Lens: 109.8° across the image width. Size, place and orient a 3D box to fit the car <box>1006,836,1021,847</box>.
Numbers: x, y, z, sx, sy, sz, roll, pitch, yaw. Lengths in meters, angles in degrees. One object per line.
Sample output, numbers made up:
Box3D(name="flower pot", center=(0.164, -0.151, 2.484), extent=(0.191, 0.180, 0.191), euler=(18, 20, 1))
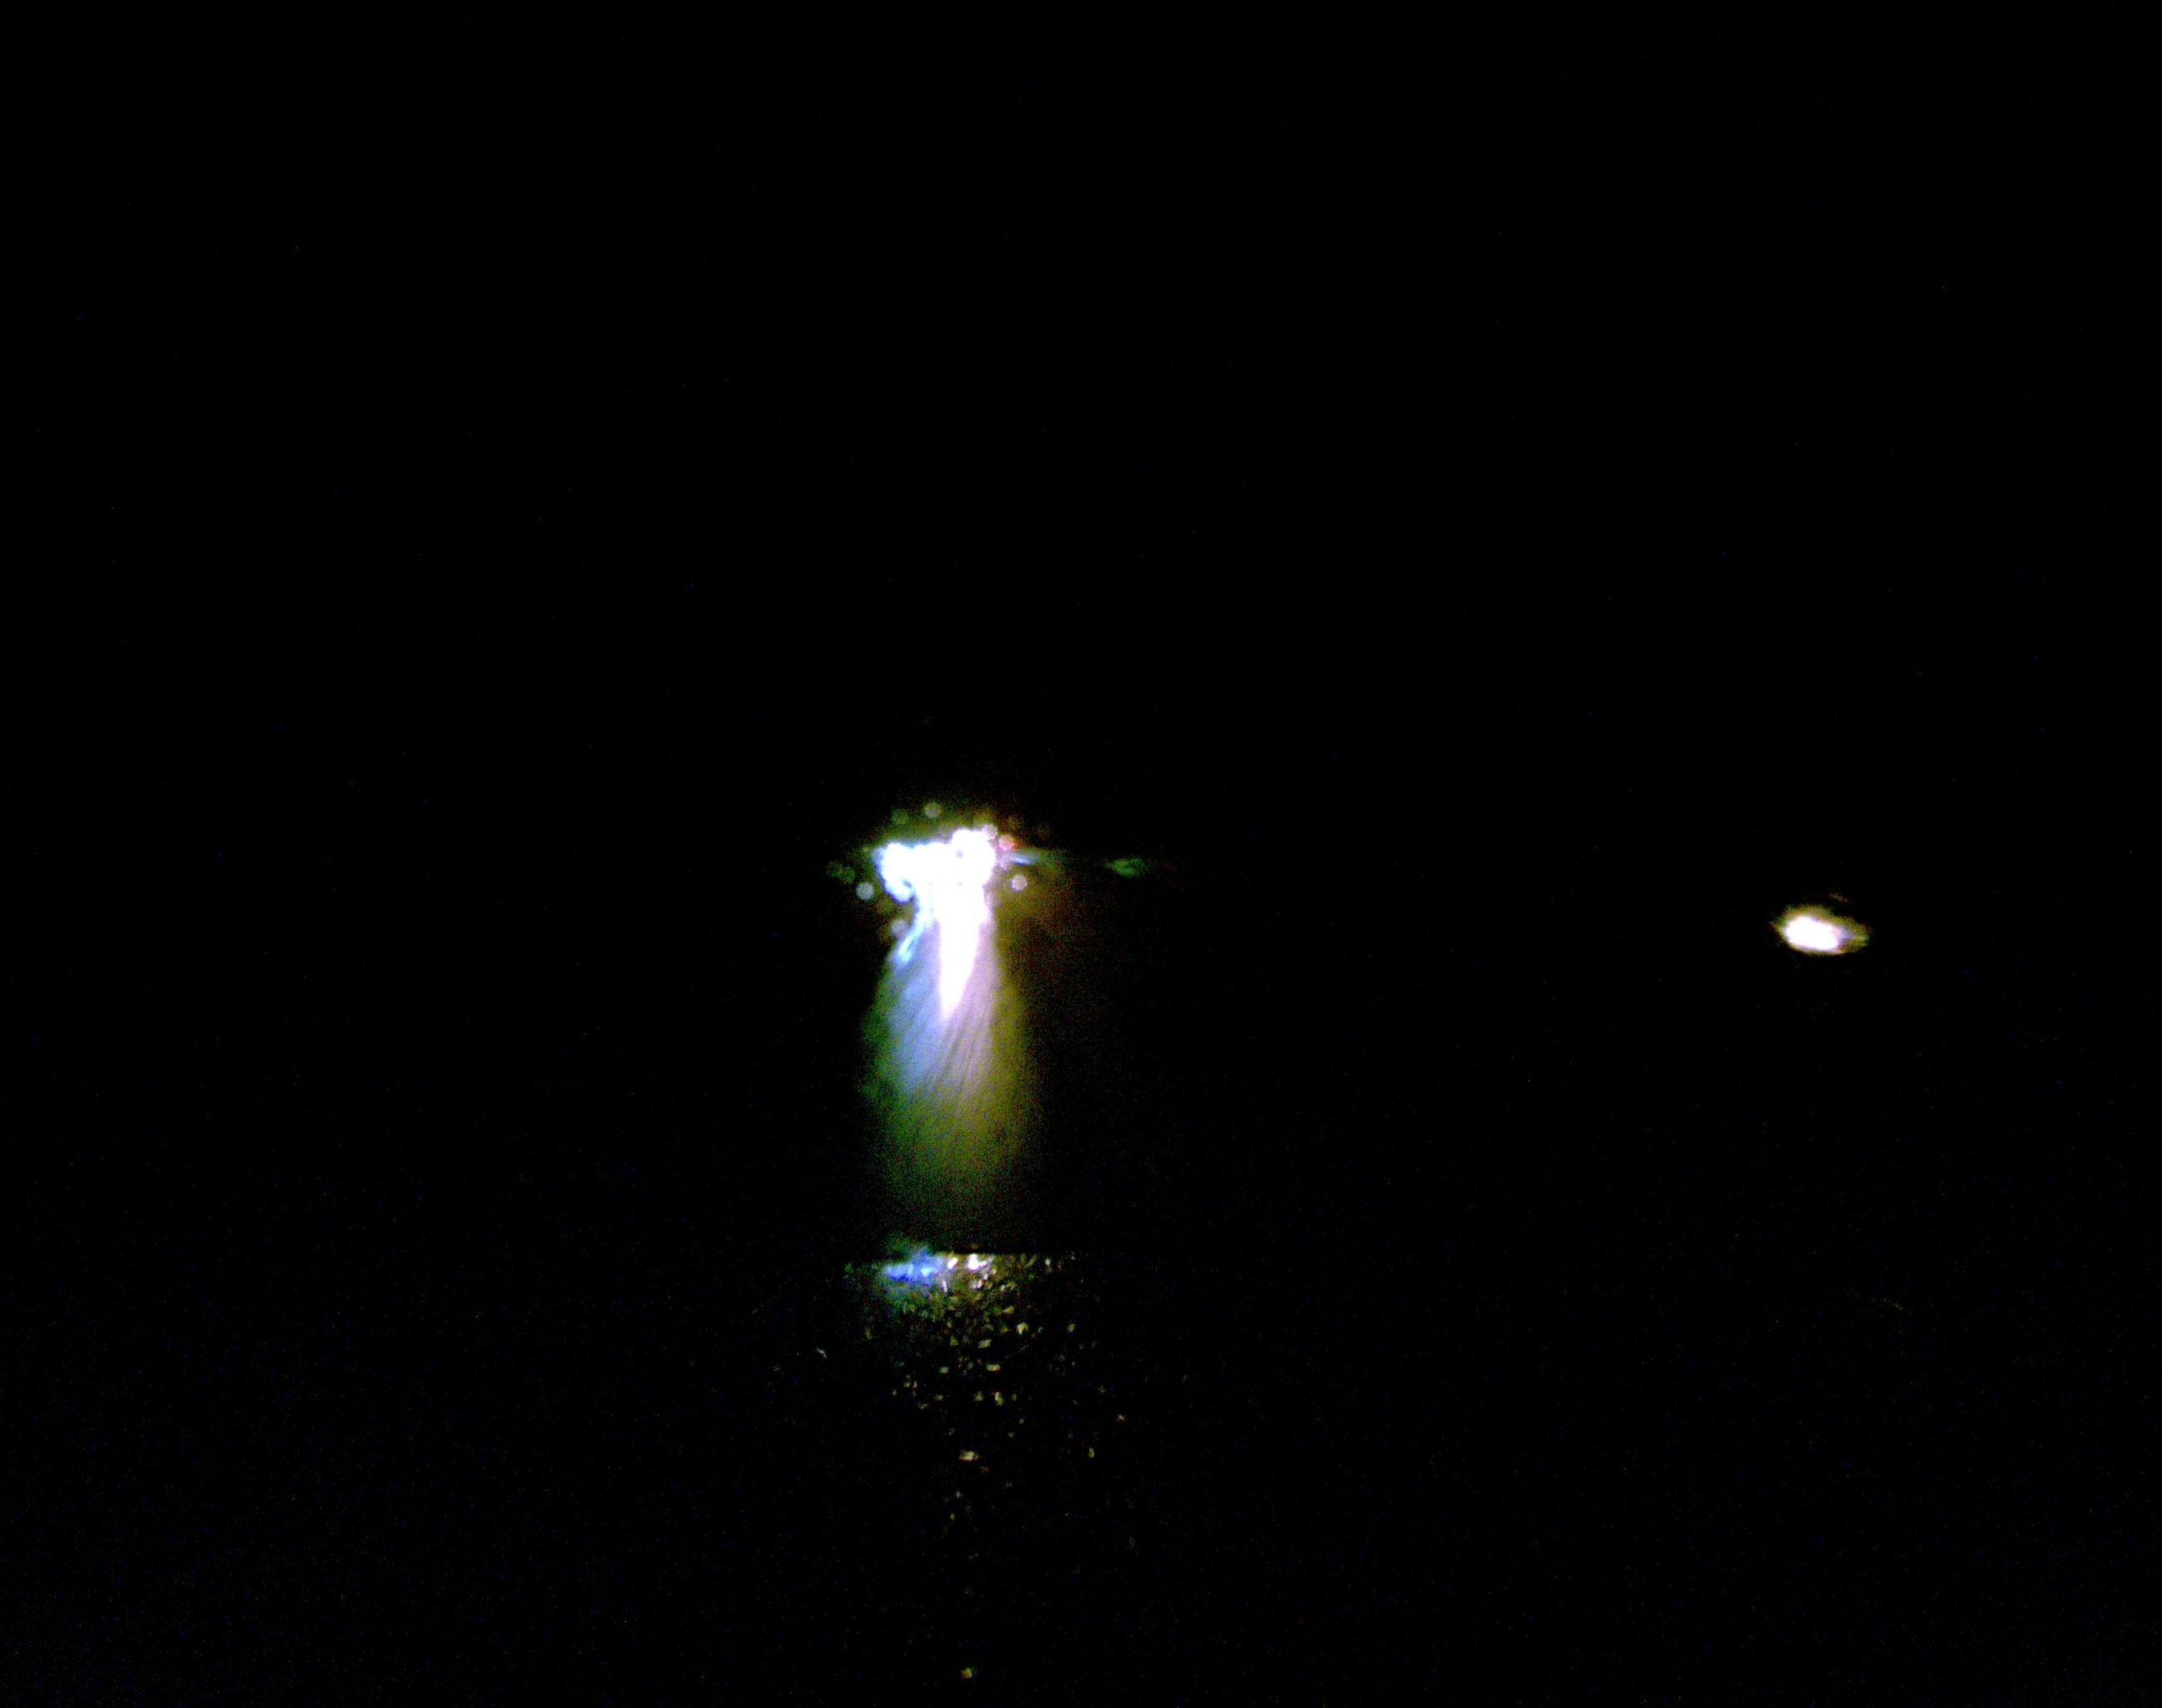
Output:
Box3D(name="car", center=(-13.191, -2.476, 147.417), extent=(2.001, 2.002, 4.801), euler=(0, 2, -16))

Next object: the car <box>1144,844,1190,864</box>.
Box3D(name="car", center=(7.120, -0.026, 63.190), extent=(1.793, 1.466, 3.882), euler=(0, 2, -29))

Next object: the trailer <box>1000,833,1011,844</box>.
Box3D(name="trailer", center=(-25.790, -5.379, 258.443), extent=(2.619, 3.453, 10.431), euler=(1, 2, -13))

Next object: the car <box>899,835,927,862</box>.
Box3D(name="car", center=(-14.331, -0.444, 64.810), extent=(2.001, 2.002, 3.995), euler=(-4, 0, -16))

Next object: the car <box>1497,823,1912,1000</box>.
Box3D(name="car", center=(8.871, 0.657, 11.375), extent=(1.757, 2.093, 4.453), euler=(0, 1, -24))

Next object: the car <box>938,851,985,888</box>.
Box3D(name="car", center=(-5.973, 0.723, 37.670), extent=(1.895, 1.603, 3.993), euler=(1, 2, -15))
